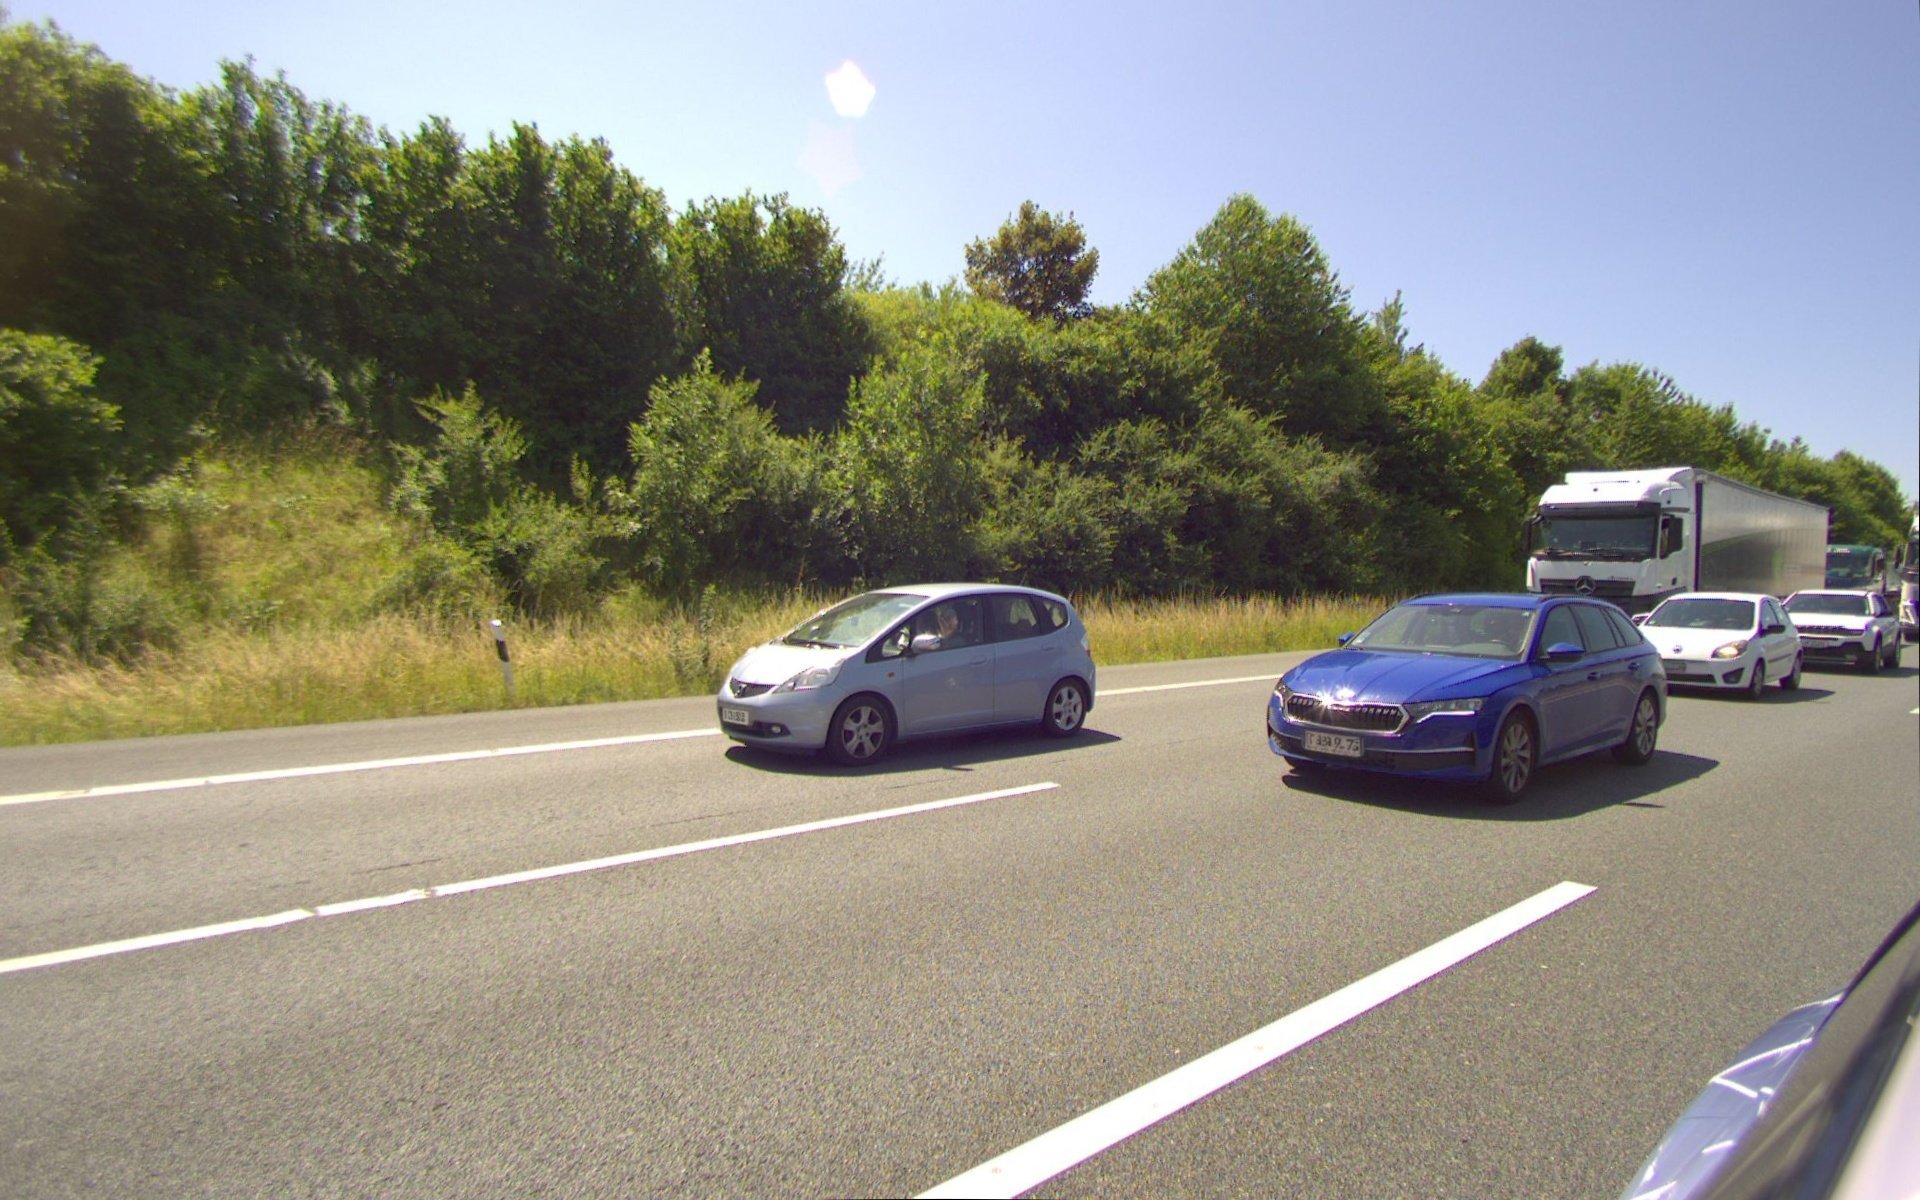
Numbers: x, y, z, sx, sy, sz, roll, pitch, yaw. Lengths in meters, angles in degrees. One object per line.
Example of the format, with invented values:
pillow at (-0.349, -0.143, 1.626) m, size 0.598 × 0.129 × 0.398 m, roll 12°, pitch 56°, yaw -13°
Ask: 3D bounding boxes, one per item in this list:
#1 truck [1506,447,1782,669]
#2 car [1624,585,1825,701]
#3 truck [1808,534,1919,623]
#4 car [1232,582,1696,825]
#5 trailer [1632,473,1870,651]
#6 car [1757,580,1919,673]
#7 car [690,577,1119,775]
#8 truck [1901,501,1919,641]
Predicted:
truck at (15.723, -0.864, 22.957) m, size 8.322 × 4.208 × 2.880 m, roll -1°, pitch 1°, yaw -39°
car at (11.525, 0.542, 15.188) m, size 3.743 × 1.451 × 1.608 m, roll -1°, pitch 3°, yaw -40°
truck at (34.586, -0.811, 38.685) m, size 5.573 × 3.185 × 2.299 m, roll -1°, pitch 1°, yaw -39°
car at (4.355, 0.605, 8.411) m, size 4.491 × 1.434 × 1.780 m, roll -1°, pitch 3°, yaw -40°
trailer at (22.872, -0.999, 28.859) m, size 11.860 × 4.208 × 2.879 m, roll -1°, pitch 1°, yaw -40°
car at (17.102, 0.430, 19.664) m, size 3.816 × 1.577 × 1.748 m, roll -1°, pitch 3°, yaw -40°
car at (-0.399, 0.549, 9.608) m, size 3.853 × 1.479 × 1.665 m, roll -1°, pitch 2°, yaw -41°
truck at (31.551, -0.861, 31.074) m, size 8.210 × 4.044 × 2.750 m, roll -1°, pitch 1°, yaw -39°
